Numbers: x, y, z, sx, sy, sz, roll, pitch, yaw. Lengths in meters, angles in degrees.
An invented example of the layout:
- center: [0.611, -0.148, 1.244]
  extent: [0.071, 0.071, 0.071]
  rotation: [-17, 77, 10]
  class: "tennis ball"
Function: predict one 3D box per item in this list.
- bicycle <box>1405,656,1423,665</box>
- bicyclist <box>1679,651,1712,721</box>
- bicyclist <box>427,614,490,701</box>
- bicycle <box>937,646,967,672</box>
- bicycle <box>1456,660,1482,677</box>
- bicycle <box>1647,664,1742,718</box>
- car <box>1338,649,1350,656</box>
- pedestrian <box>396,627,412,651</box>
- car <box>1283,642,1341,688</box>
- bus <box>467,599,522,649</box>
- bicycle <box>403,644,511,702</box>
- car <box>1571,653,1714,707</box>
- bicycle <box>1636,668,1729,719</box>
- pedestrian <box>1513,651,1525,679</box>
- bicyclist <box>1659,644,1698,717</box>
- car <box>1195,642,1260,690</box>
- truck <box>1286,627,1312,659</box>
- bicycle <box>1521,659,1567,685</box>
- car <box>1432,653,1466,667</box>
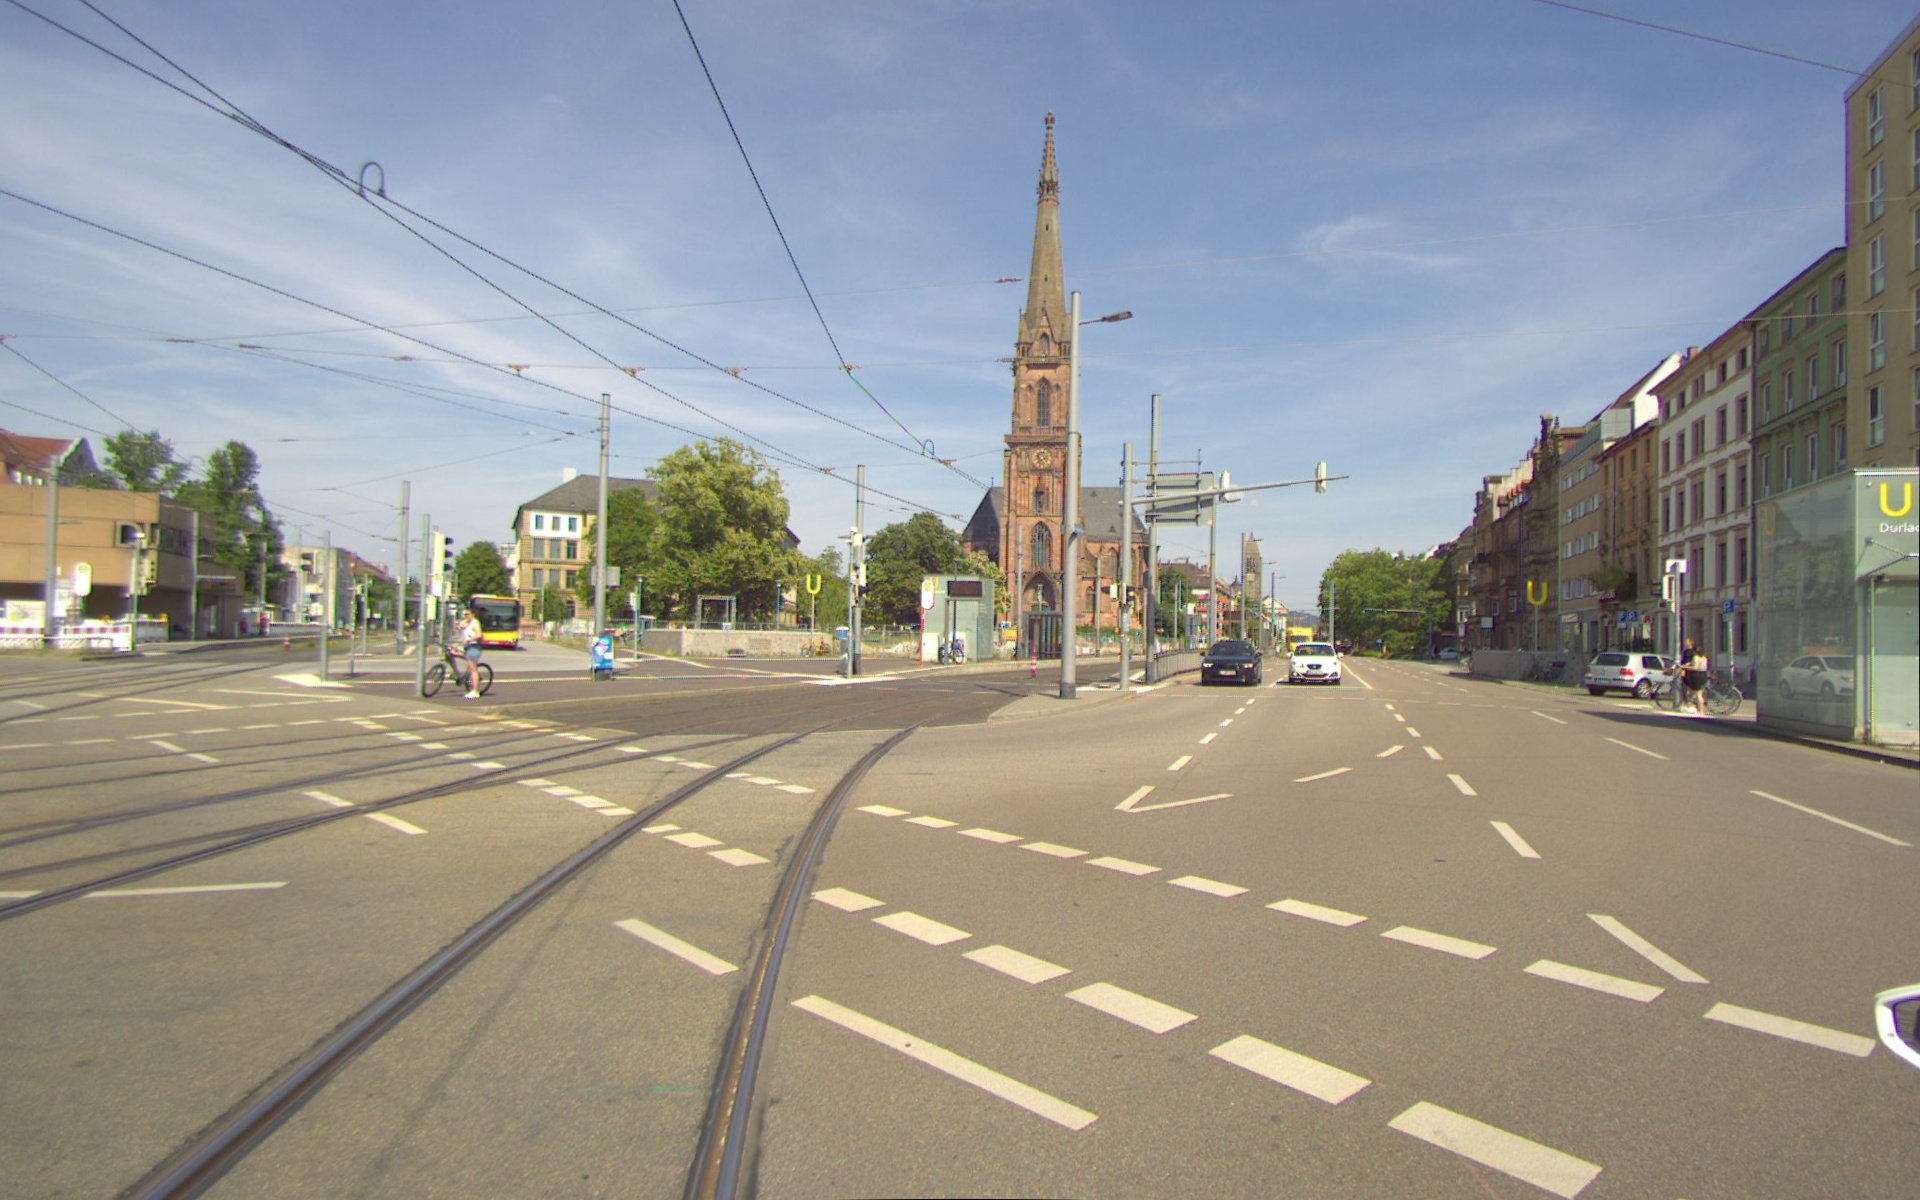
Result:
- center: [51.131, 6.783, 113.062]
  extent: [1.787, 0.875, 0.483]
  rotation: [1, 0, 5]
  class: "bicycle"
- center: [17.259, 2.003, 23.577]
  extent: [0.603, 1.593, 0.730]
  rotation: [0, -3, 38]
  class: "bicyclist"
- center: [-10.204, 1.175, 20.443]
  extent: [0.737, 1.706, 0.776]
  rotation: [1, -4, 27]
  class: "bicyclist"
- center: [-0.363, 2.629, 44.922]
  extent: [0.407, 1.085, 1.657]
  rotation: [-1, -1, 38]
  class: "bicycle"
- center: [32.463, 4.350, 64.100]
  extent: [1.436, 0.989, 0.415]
  rotation: [0, 0, 20]
  class: "bicycle"
- center: [17.250, 2.129, 23.607]
  extent: [1.769, 1.145, 0.751]
  rotation: [0, -3, 38]
  class: "bicycle"
- center: [76.953, 10.558, 201.350]
  extent: [1.867, 1.394, 3.817]
  rotation: [0, -2, 18]
  class: "car"
- center: [-33.284, 2.337, 60.105]
  extent: [0.897, 1.385, 0.537]
  rotation: [1, 0, 37]
  class: "pedestrian"
- center: [12.127, 2.195, 34.575]
  extent: [1.726, 1.416, 4.125]
  rotation: [-3, -3, 20]
  class: "car"
- center: [-28.045, 1.293, 60.536]
  extent: [2.721, 2.718, 11.715]
  rotation: [0, 0, -25]
  class: "bus"
- center: [-10.198, 1.490, 20.440]
  extent: [0.737, 1.097, 1.848]
  rotation: [1, -4, 26]
  class: "bicycle"
- center: [21.975, 2.572, 32.362]
  extent: [3.939, 1.459, 1.806]
  rotation: [4, -2, -19]
  class: "car"
- center: [17.935, 2.308, 24.966]
  extent: [1.760, 1.145, 0.584]
  rotation: [2, -2, 14]
  class: "bicycle"
- center: [33.566, 3.911, 60.355]
  extent: [0.543, 1.687, 0.525]
  rotation: [1, -2, 20]
  class: "pedestrian"
- center: [17.792, 1.993, 24.887]
  extent: [0.605, 1.757, 0.584]
  rotation: [2, -2, 14]
  class: "bicyclist"
- center: [9.044, 2.162, 33.740]
  extent: [1.725, 1.475, 4.424]
  rotation: [0, -2, 20]
  class: "car"
- center: [37.449, 4.837, 110.806]
  extent: [2.501, 3.341, 9.031]
  rotation: [-2, -3, 19]
  class: "truck"
- center: [26.397, 3.231, 45.424]
  extent: [1.714, 1.109, 0.597]
  rotation: [0, -1, 20]
  class: "bicycle"
- center: [66.430, 8.128, 136.533]
  extent: [3.922, 1.773, 1.999]
  rotation: [0, 0, 22]
  class: "car"
